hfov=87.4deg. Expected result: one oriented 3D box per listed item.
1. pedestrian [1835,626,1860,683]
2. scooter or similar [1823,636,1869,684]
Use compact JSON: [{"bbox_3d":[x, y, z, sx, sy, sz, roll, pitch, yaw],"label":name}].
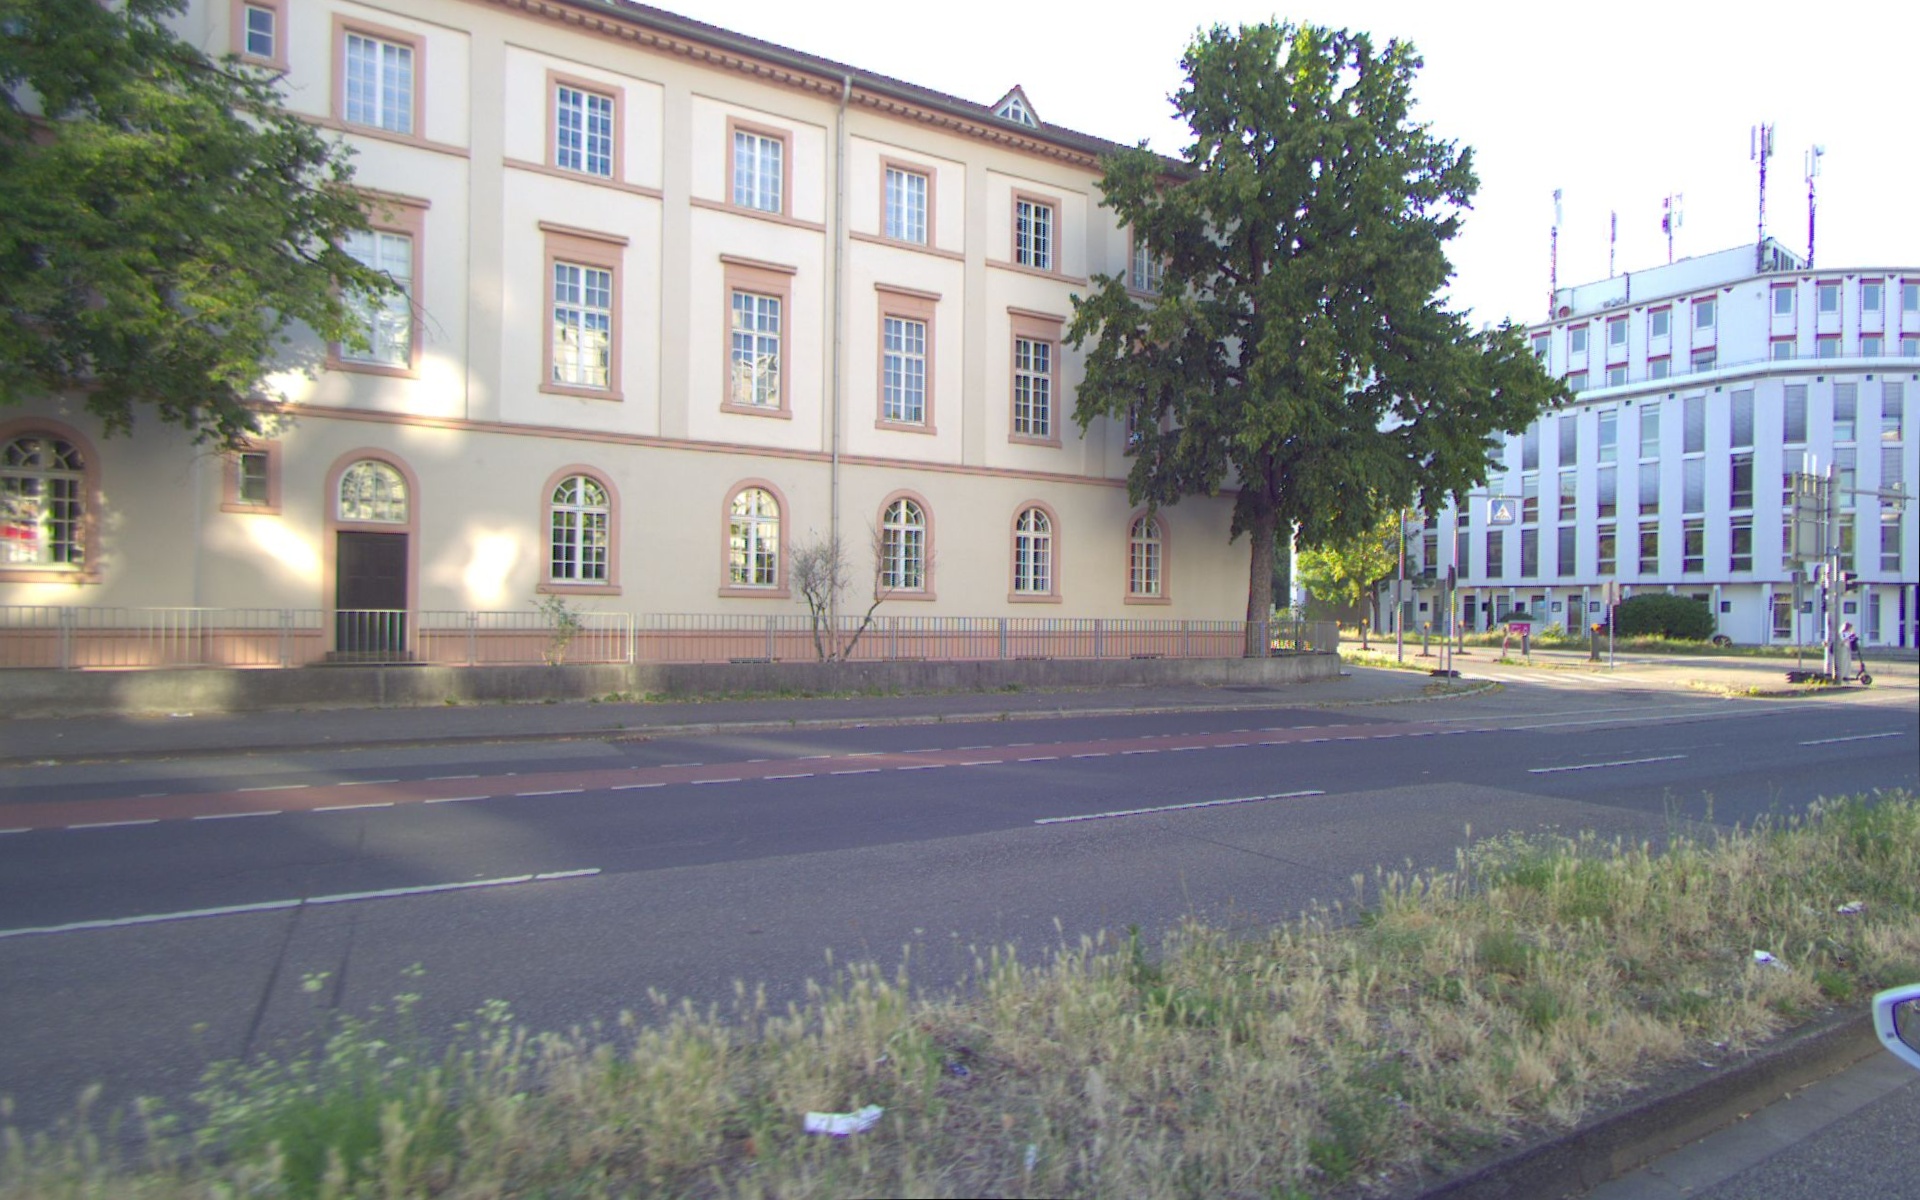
[{"bbox_3d":[24.111,1.467,27.281,0.332,1.525,0.470,1,-1,-41],"label":"pedestrian"},{"bbox_3d":[23.978,1.615,27.181,0.368,1.250,0.885,1,-1,-40],"label":"scooter or similar"}]
